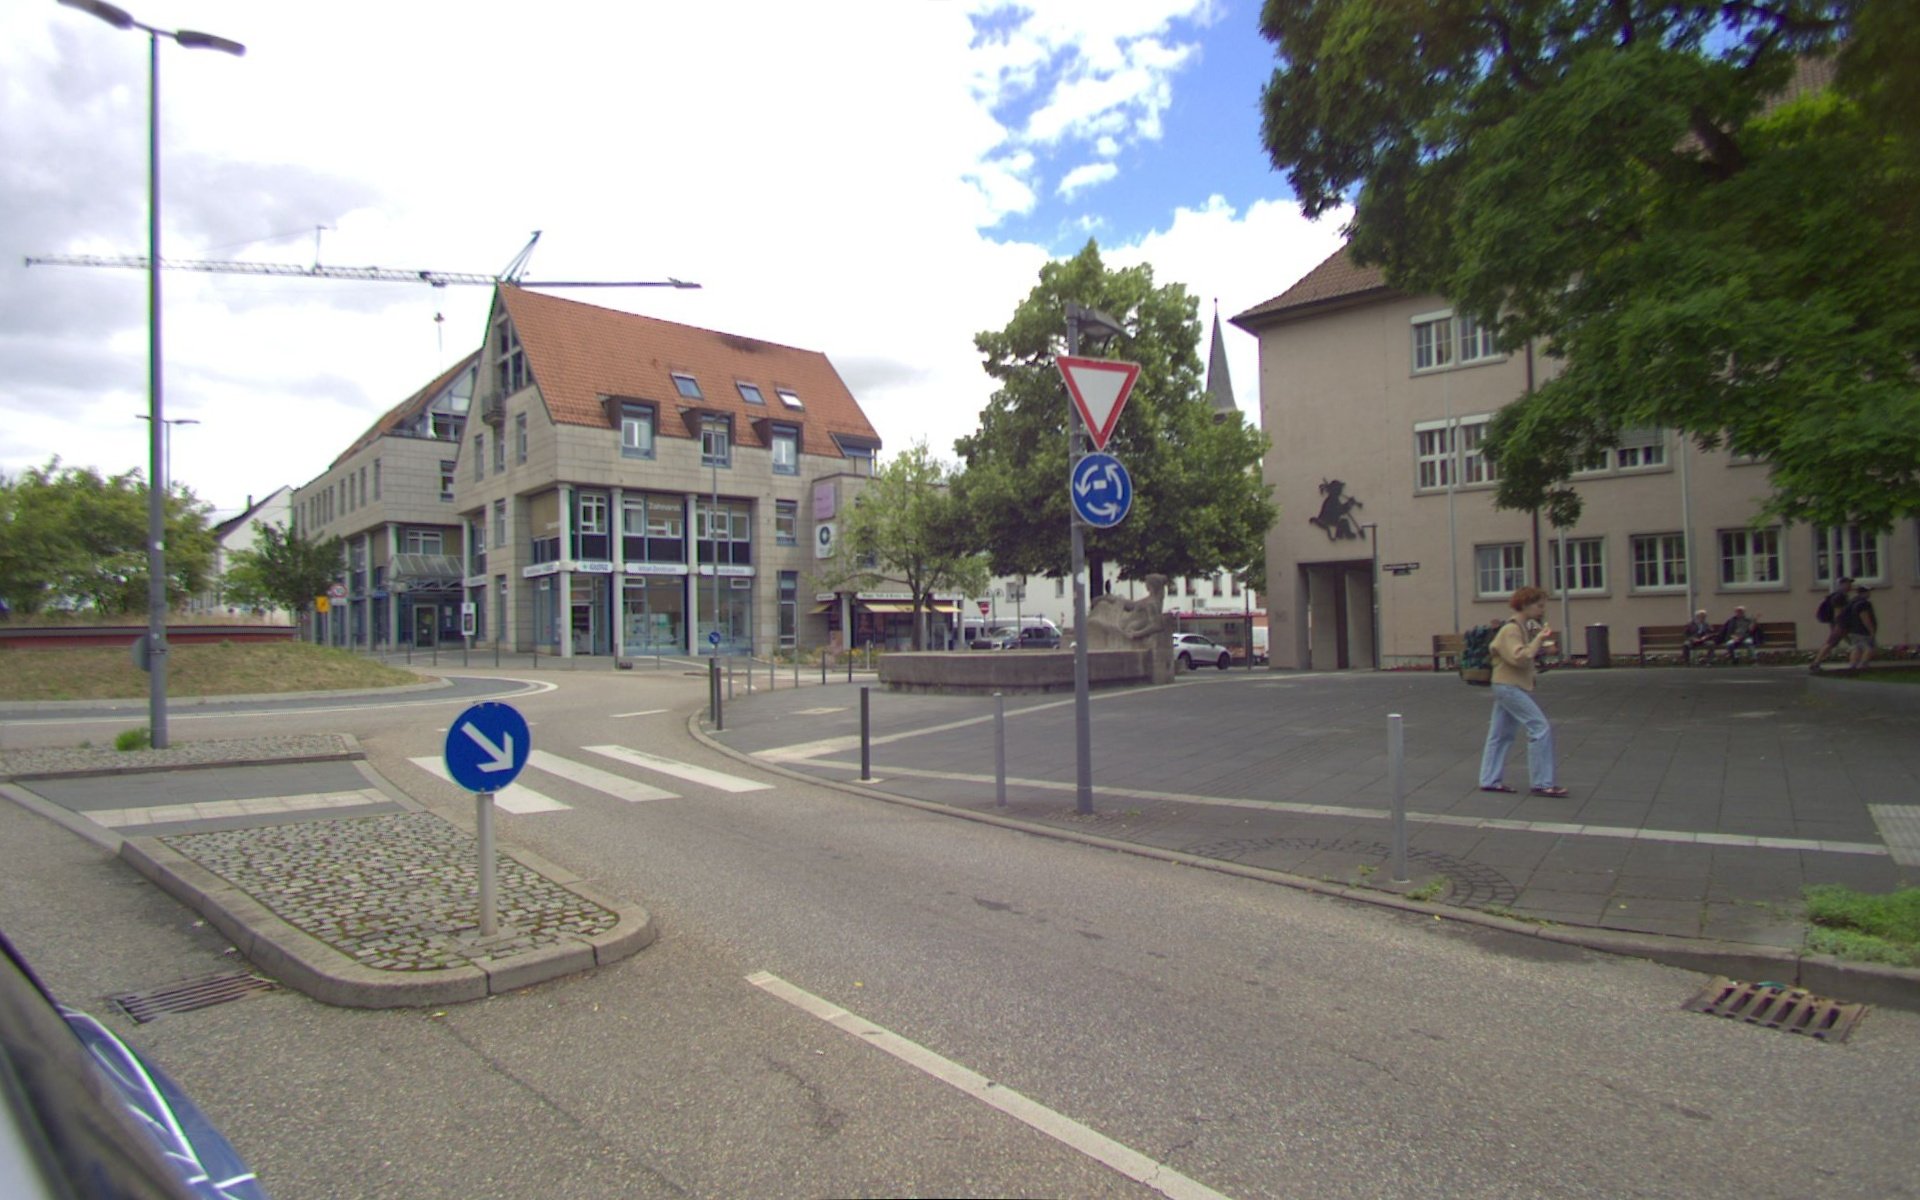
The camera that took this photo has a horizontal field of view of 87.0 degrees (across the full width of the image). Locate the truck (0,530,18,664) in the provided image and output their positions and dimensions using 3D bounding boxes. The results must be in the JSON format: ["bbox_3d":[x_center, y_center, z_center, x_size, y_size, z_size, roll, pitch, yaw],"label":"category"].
[{"bbox_3d":[-27.972,-0.079,24.265,2.638,3.872,10.874,-1,0,-12],"label":"truck"}]

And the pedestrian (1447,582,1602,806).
[{"bbox_3d":[4.433,0.706,7.961,0.651,1.641,0.801,-1,-3,-39],"label":"pedestrian"}]

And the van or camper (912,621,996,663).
[{"bbox_3d":[-0.359,2.547,61.453,4.639,2.400,1.987,-2,-2,19],"label":"van or camper"}]

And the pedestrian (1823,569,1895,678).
[{"bbox_3d":[15.776,0.424,17.763,0.829,1.864,0.652,-4,-3,44],"label":"pedestrian"}]

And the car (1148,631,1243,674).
[{"bbox_3d":[9.811,2.149,41.997,4.011,1.551,1.750,-1,0,-39],"label":"car"}]

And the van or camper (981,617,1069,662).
[{"bbox_3d":[3.682,2.227,57.249,4.639,2.400,1.987,-2,-2,19],"label":"van or camper"}]

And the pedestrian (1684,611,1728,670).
[{"bbox_3d":[16.232,0.881,22.019,0.690,1.235,0.806,-4,-3,38],"label":"pedestrian"}]

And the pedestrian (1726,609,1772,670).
[{"bbox_3d":[16.786,0.838,21.543,0.690,1.235,0.806,-4,-3,38],"label":"pedestrian"}]

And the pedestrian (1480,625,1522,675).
[{"bbox_3d":[13.129,1.209,24.559,0.690,1.184,0.806,-4,-3,38],"label":"pedestrian"}]

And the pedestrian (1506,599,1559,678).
[{"bbox_3d":[12.619,0.846,22.303,0.816,1.688,0.681,-4,-3,40],"label":"pedestrian"}]

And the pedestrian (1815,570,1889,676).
[{"bbox_3d":[16.181,0.417,18.363,0.878,1.864,0.652,-4,-3,44],"label":"pedestrian"}]

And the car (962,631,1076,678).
[{"bbox_3d":[2.508,2.204,42.087,4.814,1.666,1.750,-1,0,-39],"label":"car"}]
